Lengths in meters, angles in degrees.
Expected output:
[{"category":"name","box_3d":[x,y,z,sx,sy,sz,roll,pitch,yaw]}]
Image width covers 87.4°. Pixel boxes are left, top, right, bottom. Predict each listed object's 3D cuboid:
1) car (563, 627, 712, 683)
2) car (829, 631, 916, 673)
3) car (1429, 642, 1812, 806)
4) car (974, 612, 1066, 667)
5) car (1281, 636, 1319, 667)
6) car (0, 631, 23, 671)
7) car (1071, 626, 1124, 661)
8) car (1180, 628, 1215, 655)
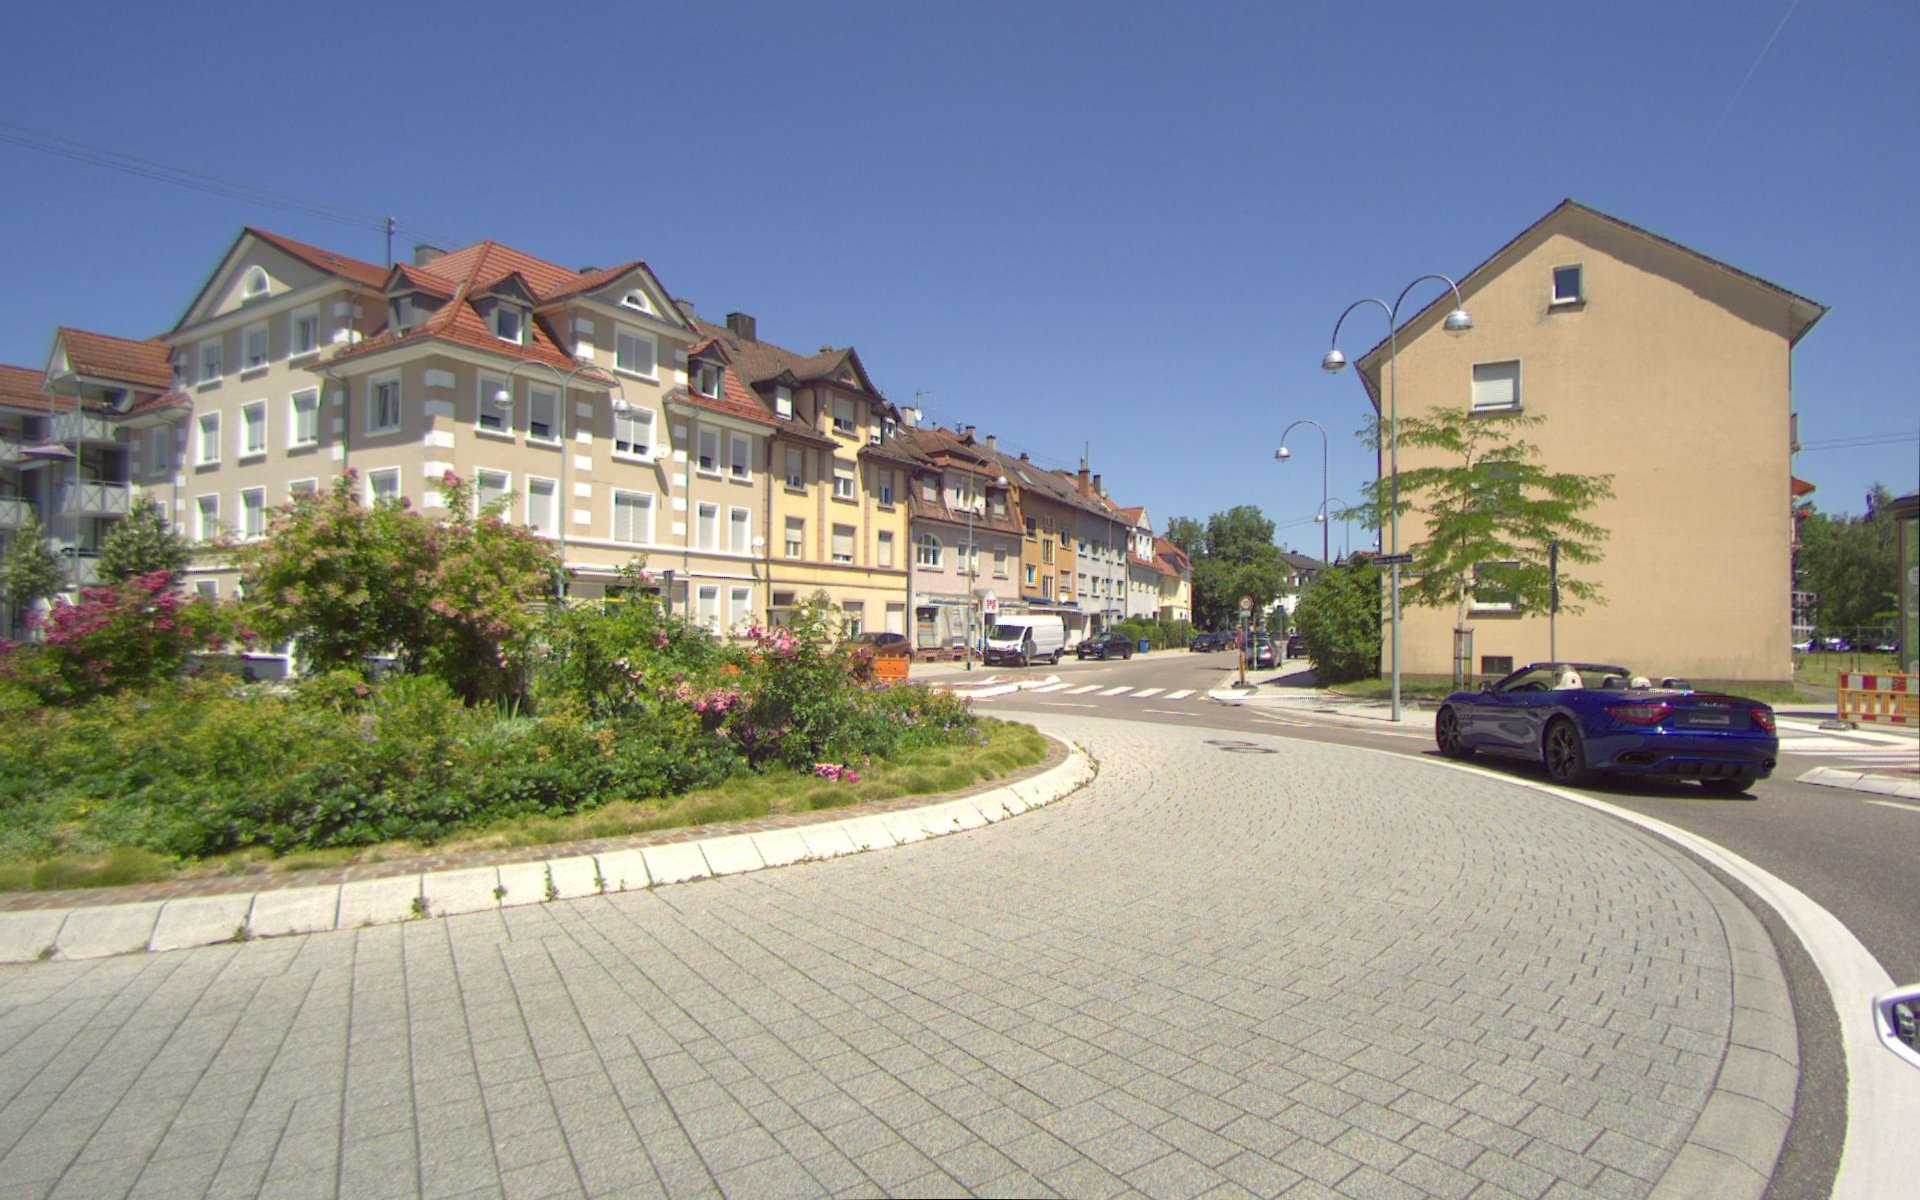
[{"category":"car","box_3d":[-10.553,1.771,33.240,1.750,1.708,4.685,0,-2,31]},{"category":"car","box_3d":[-3.691,2.215,43.207,1.576,1.638,4.083,2,-1,31]},{"category":"car","box_3d":[7.444,1.345,12.001,1.839,1.550,4.511,0,-4,4]},{"category":"car","box_3d":[3.156,1.996,50.928,2.112,2.566,6.228,2,-1,29]},{"category":"car","box_3d":[21.932,3.280,64.676,1.784,1.817,3.997,1,-1,26]},{"category":"car","box_3d":[-38.349,1.930,37.644,1.949,1.512,4.397,-2,-3,33]},{"category":"car","box_3d":[8.297,2.615,60.363,2.035,2.040,3.997,-1,-2,26]},{"category":"car","box_3d":[18.499,3.253,78.125,2.035,2.040,3.998,-1,-2,23]}]
